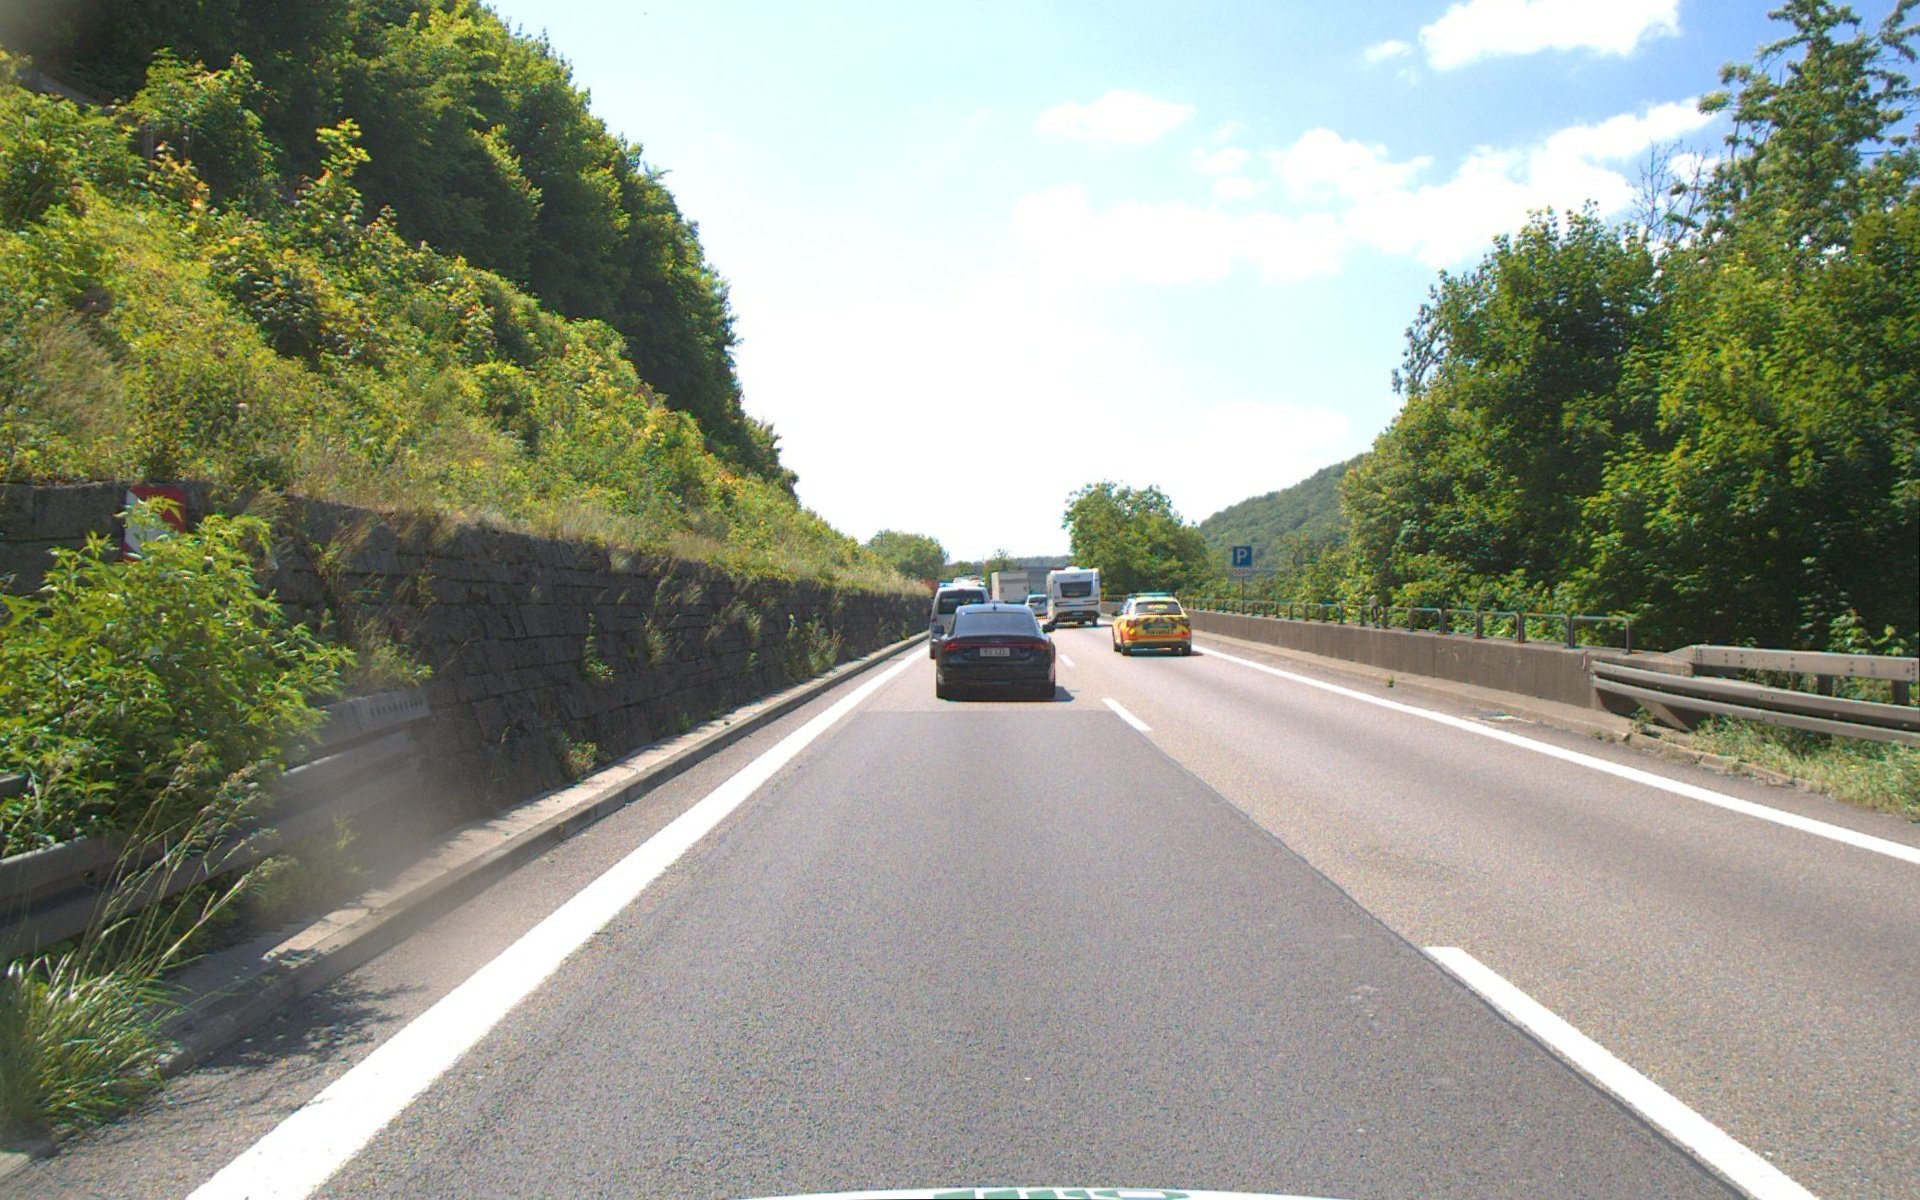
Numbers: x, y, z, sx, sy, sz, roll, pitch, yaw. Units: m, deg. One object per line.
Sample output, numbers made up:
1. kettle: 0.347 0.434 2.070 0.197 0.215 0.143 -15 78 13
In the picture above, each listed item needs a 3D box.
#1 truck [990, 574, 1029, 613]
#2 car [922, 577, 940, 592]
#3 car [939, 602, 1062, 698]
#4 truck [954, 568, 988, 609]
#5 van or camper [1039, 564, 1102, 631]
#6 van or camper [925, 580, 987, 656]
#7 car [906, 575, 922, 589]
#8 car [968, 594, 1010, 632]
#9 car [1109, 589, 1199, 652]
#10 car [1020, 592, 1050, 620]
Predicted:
1. truck: 4.128 -0.533 138.834 2.783 3.186 7.477 1 0 -2
2. car: -3.973 -2.078 223.509 1.956 2.049 3.993 1 0 -8
3. car: 0.574 0.772 26.487 1.800 1.373 3.999 1 -1 -1
4. truck: 1.099 -1.206 171.520 2.680 4.168 7.471 1 0 -5
5. van or camper: 5.177 -0.055 78.466 2.406 2.969 6.123 1 -1 -1
6. van or camper: -0.135 0.485 43.379 1.364 1.848 3.997 2 -1 -3
7. car: -6.888 -2.665 249.584 1.956 2.049 3.993 1 0 -8
8. car: 1.303 0.579 76.291 1.737 1.665 3.998 1 0 -2
9. car: 4.985 0.555 42.974 1.825 1.514 3.999 1 -1 0
10. car: 4.947 0.387 109.515 1.803 1.747 4.000 1 0 0
